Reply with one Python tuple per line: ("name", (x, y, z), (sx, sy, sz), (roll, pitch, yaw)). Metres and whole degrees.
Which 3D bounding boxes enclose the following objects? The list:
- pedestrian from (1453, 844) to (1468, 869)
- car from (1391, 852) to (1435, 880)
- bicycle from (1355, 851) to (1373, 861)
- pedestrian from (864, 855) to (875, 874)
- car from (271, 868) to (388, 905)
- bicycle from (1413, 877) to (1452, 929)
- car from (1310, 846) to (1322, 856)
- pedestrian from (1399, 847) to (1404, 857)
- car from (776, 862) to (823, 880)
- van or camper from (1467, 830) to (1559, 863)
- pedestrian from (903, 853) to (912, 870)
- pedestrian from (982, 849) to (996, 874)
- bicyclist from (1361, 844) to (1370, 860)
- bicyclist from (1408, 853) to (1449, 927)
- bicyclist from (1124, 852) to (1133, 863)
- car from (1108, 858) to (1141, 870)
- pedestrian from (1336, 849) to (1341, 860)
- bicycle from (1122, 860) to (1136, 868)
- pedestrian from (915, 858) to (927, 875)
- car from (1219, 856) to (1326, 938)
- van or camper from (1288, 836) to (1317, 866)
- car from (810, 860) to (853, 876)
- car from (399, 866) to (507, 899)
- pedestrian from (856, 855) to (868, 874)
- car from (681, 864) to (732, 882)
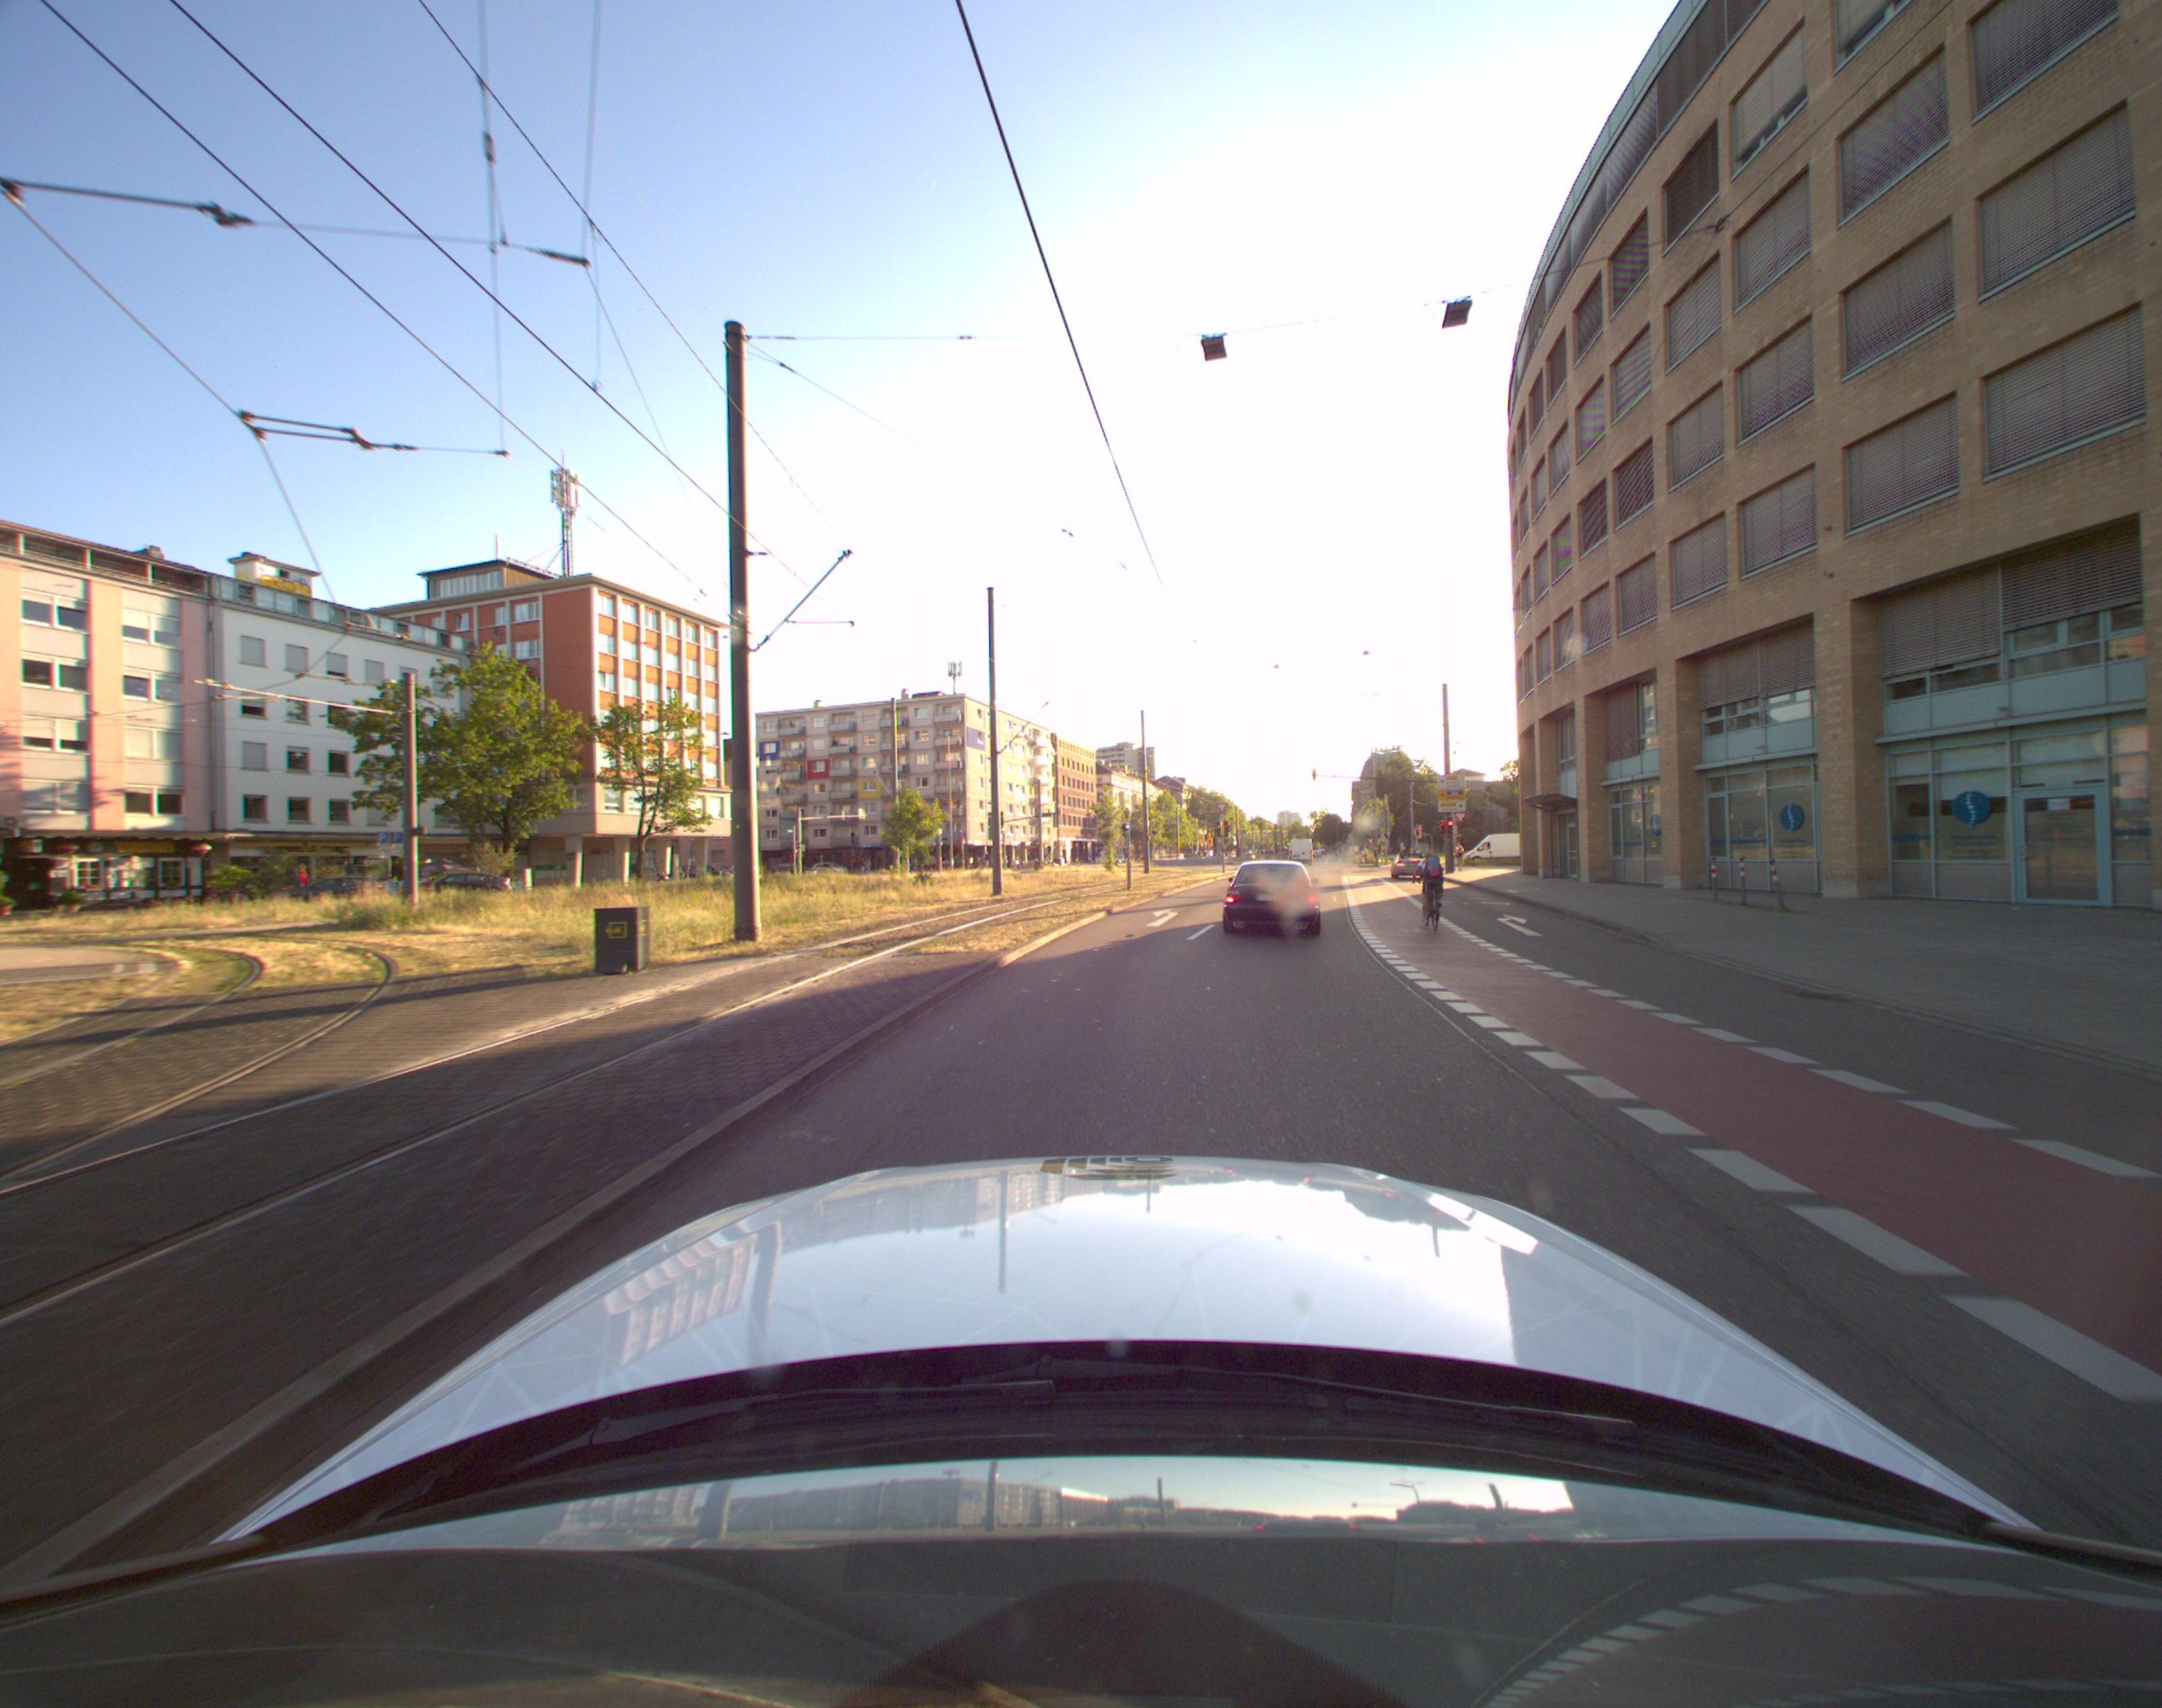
("pedestrian", (24.067, 0.143, 51.624), (0.672, 1.569, 0.803), (-2, 1, 15))
("car", (17.766, 0.587, 43.707), (1.769, 1.354, 4.286), (0, 1, 17))
("bicycle", (28.543, 0.241, 82.142), (1.715, 0.970, 0.612), (-1, 1, 17))
("pedestrian", (-20.928, 1.031, 80.692), (0.597, 1.847, 0.826), (-2, 1, 18))
("car", (-37.149, 1.553, 40.339), (1.737, 1.526, 4.026), (-1, 1, 40))
("bicycle", (7.357, 1.008, 17.115), (0.511, 0.954, 1.783), (0, 1, 15))
("car", (40.730, -0.503, 141.448), (1.781, 1.566, 4.015), (-2, 1, 14))
("pedestrian", (48.919, -0.308, 124.405), (0.676, 1.611, 0.615), (-2, 1, 18))
("car", (-27.567, 1.626, 79.799), (3.839, 1.585, 1.810), (-2, 1, 12))
("van or camper", (38.663, -0.663, 73.175), (6.984, 2.674, 2.611), (-2, 1, 20))
("pedestrian", (-17.647, 0.767, 82.828), (0.510, 1.629, 0.618), (-2, 1, 18))
("pedestrian", (-6.542, 0.512, 57.788), (0.712, 1.762, 0.654), (-1, 1, 39))
("bicyclist", (28.644, -0.206, 82.102), (0.791, 1.571, 0.666), (-2, 1, 18))
("bicyclist", (7.238, 0.722, 16.993), (0.650, 1.483, 1.042), (0, 0, 15))
("bicyclist", (5.960, 0.425, 101.756), (0.860, 1.442, 0.656), (-1, 2, -36))
("car", (5.544, 1.248, 104.328), (4.013, 1.434, 1.702), (-1, 2, -31))
("pedestrian", (35.181, 0.007, 111.203), (0.611, 1.475, 0.804), (-2, 1, 22))
("bicycle", (6.041, 1.250, 101.834), (1.742, 0.970, 0.696), (-1, 2, -37))
("pedestrian", (-16.140, 1.268, 82.060), (0.732, 1.669, 0.787), (-2, 1, 27))
("car", (4.090, 0.775, 16.868), (1.816, 1.354, 4.662), (0, 1, 17))
("van or camper", (20.529, -0.323, 75.396), (2.245, 2.624, 4.524), (-2, 1, 18))
("car", (-26.287, 1.475, 85.705), (3.839, 1.585, 1.810), (-2, 1, 12))
("car", (-33.884, 1.505, 44.057), (1.737, 1.526, 4.319), (-1, 1, 40))
("pedestrian", (-21.780, 1.072, 80.998), (0.699, 1.851, 0.740), (-2, 1, 18))
("car", (-38.042, 1.940, 82.776), (4.251, 1.585, 1.996), (-2, 1, 12))
